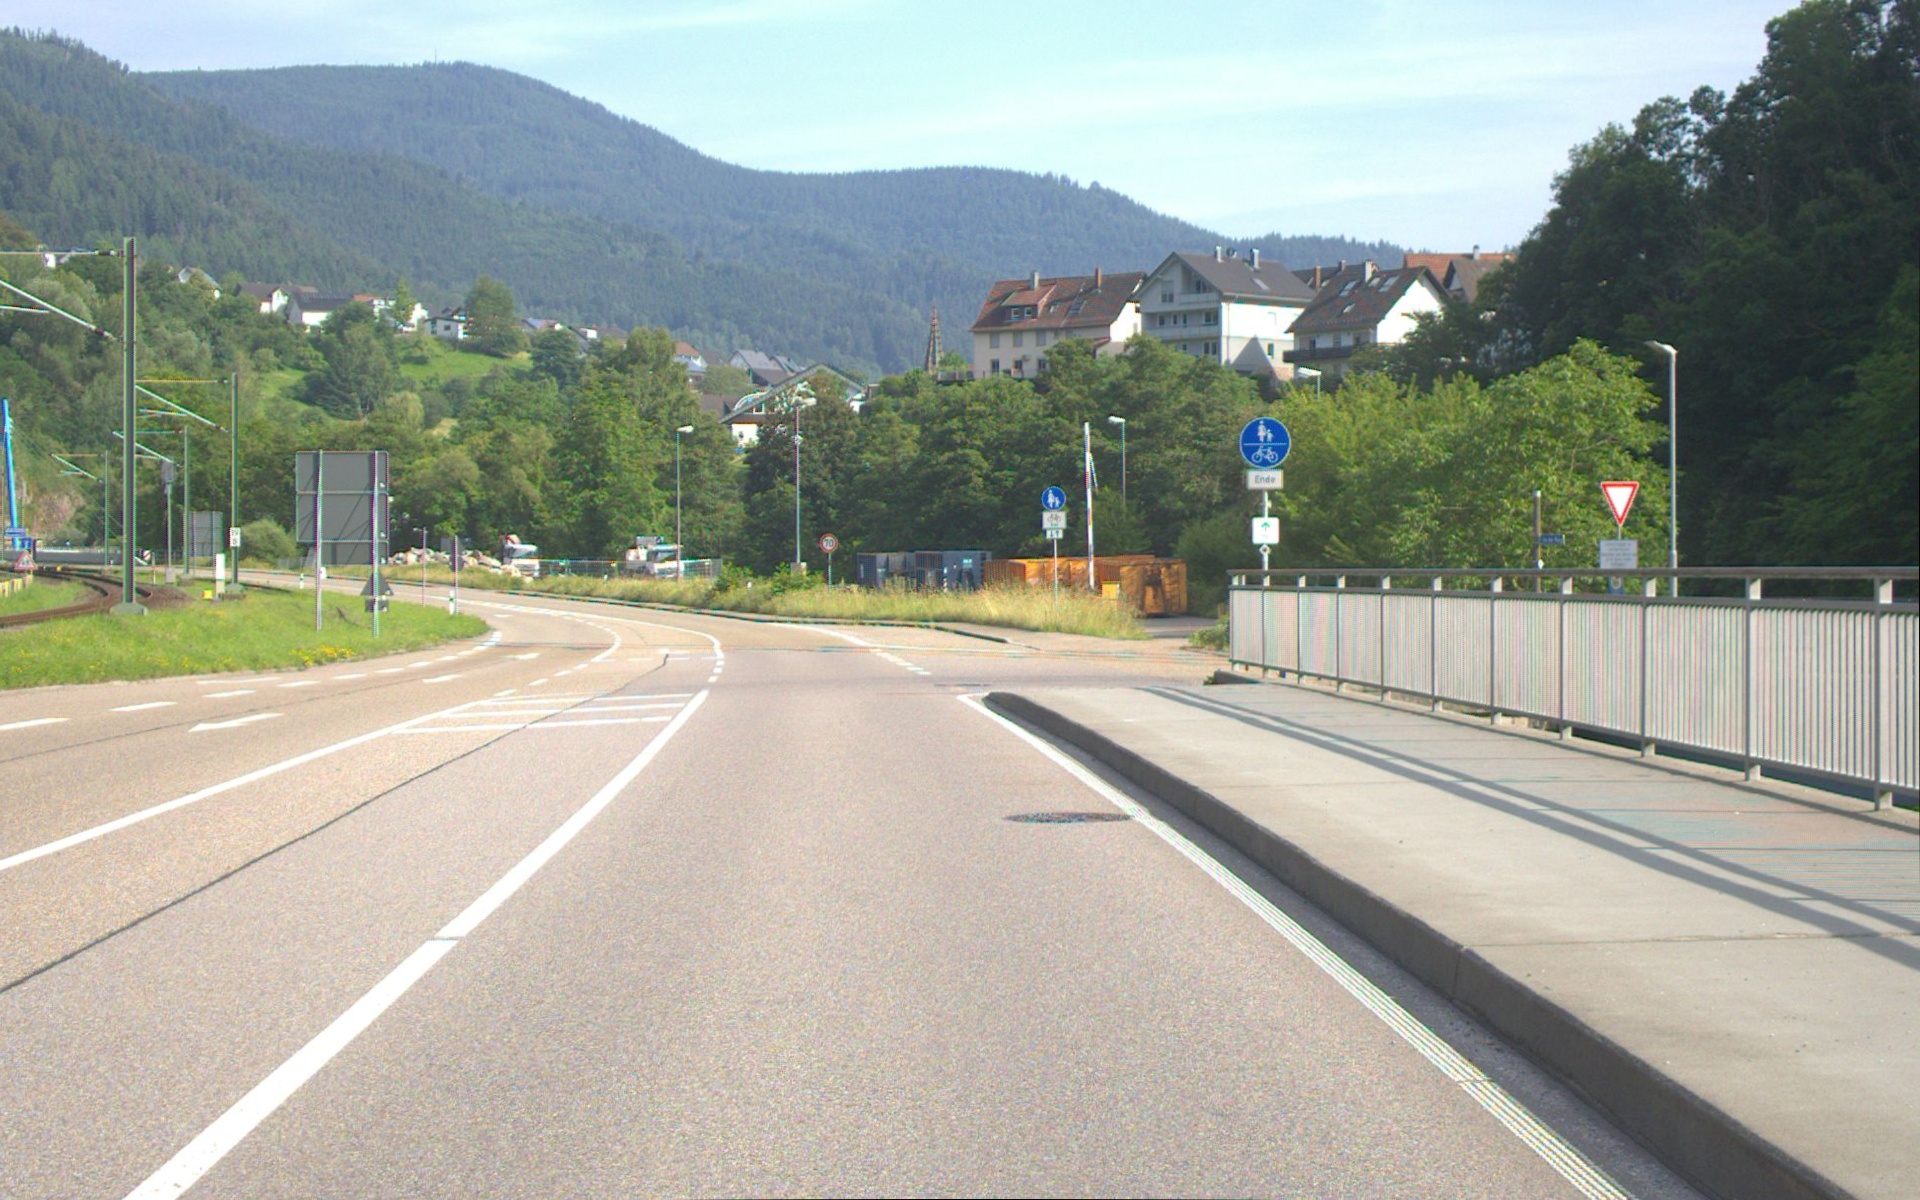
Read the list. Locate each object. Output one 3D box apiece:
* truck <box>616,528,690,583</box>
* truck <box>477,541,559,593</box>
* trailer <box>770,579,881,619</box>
[{"bbox_3d":[-21.607,-3.137,241.459,3.102,3.769,8.647,1,1,-19],"label":"truck"},{"bbox_3d":[-32.971,-2.464,256.110,3.103,3.769,8.646,1,1,-28],"label":"truck"},{"bbox_3d":[-5.713,-0.081,144.316,2.791,1.469,9.890,2,0,-13],"label":"trailer"}]
